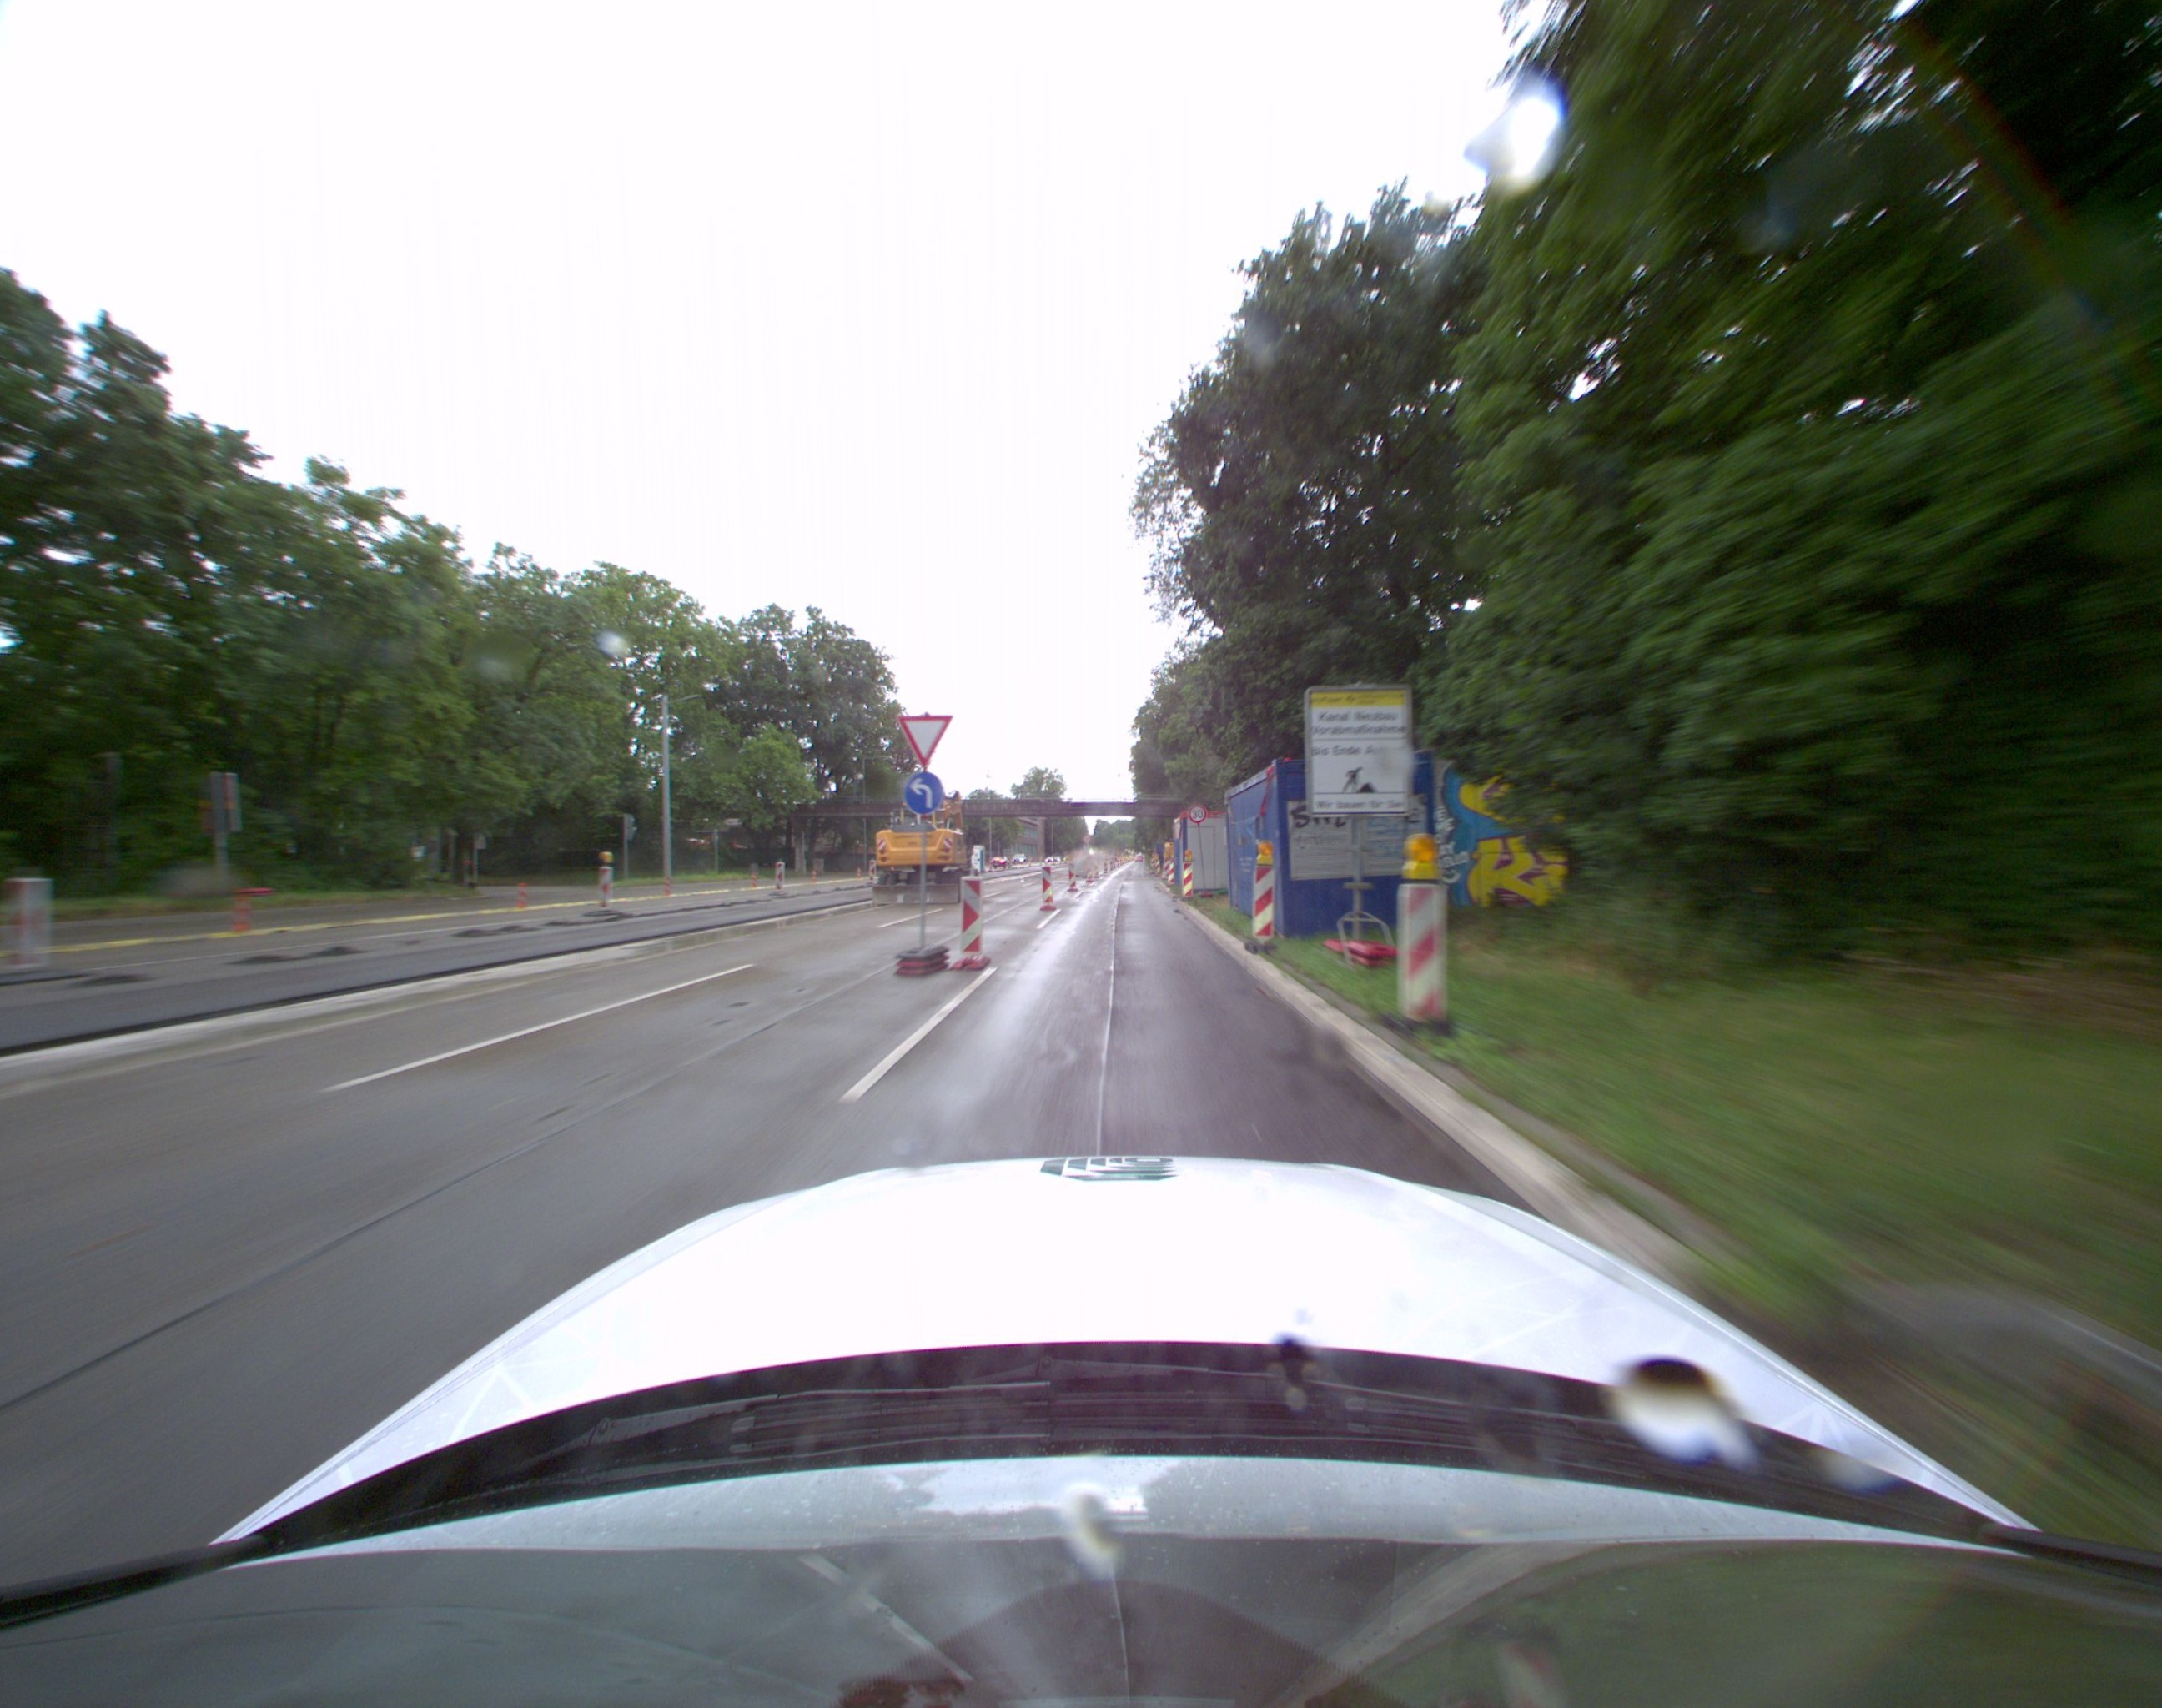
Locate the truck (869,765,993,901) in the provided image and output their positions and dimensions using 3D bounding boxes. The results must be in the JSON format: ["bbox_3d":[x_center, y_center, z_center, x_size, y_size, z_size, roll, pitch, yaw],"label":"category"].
[{"bbox_3d":[-5.282,-0.664,30.946,2.889,4.259,10.751,0,0,-1],"label":"truck"}]

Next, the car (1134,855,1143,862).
[{"bbox_3d":[13.020,0.973,184.153,1.985,1.640,4.004,-1,0,4],"label":"car"}]

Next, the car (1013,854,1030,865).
[{"bbox_3d":[-9.462,0.886,130.484,1.962,1.806,4.614,-1,0,5],"label":"car"}]
